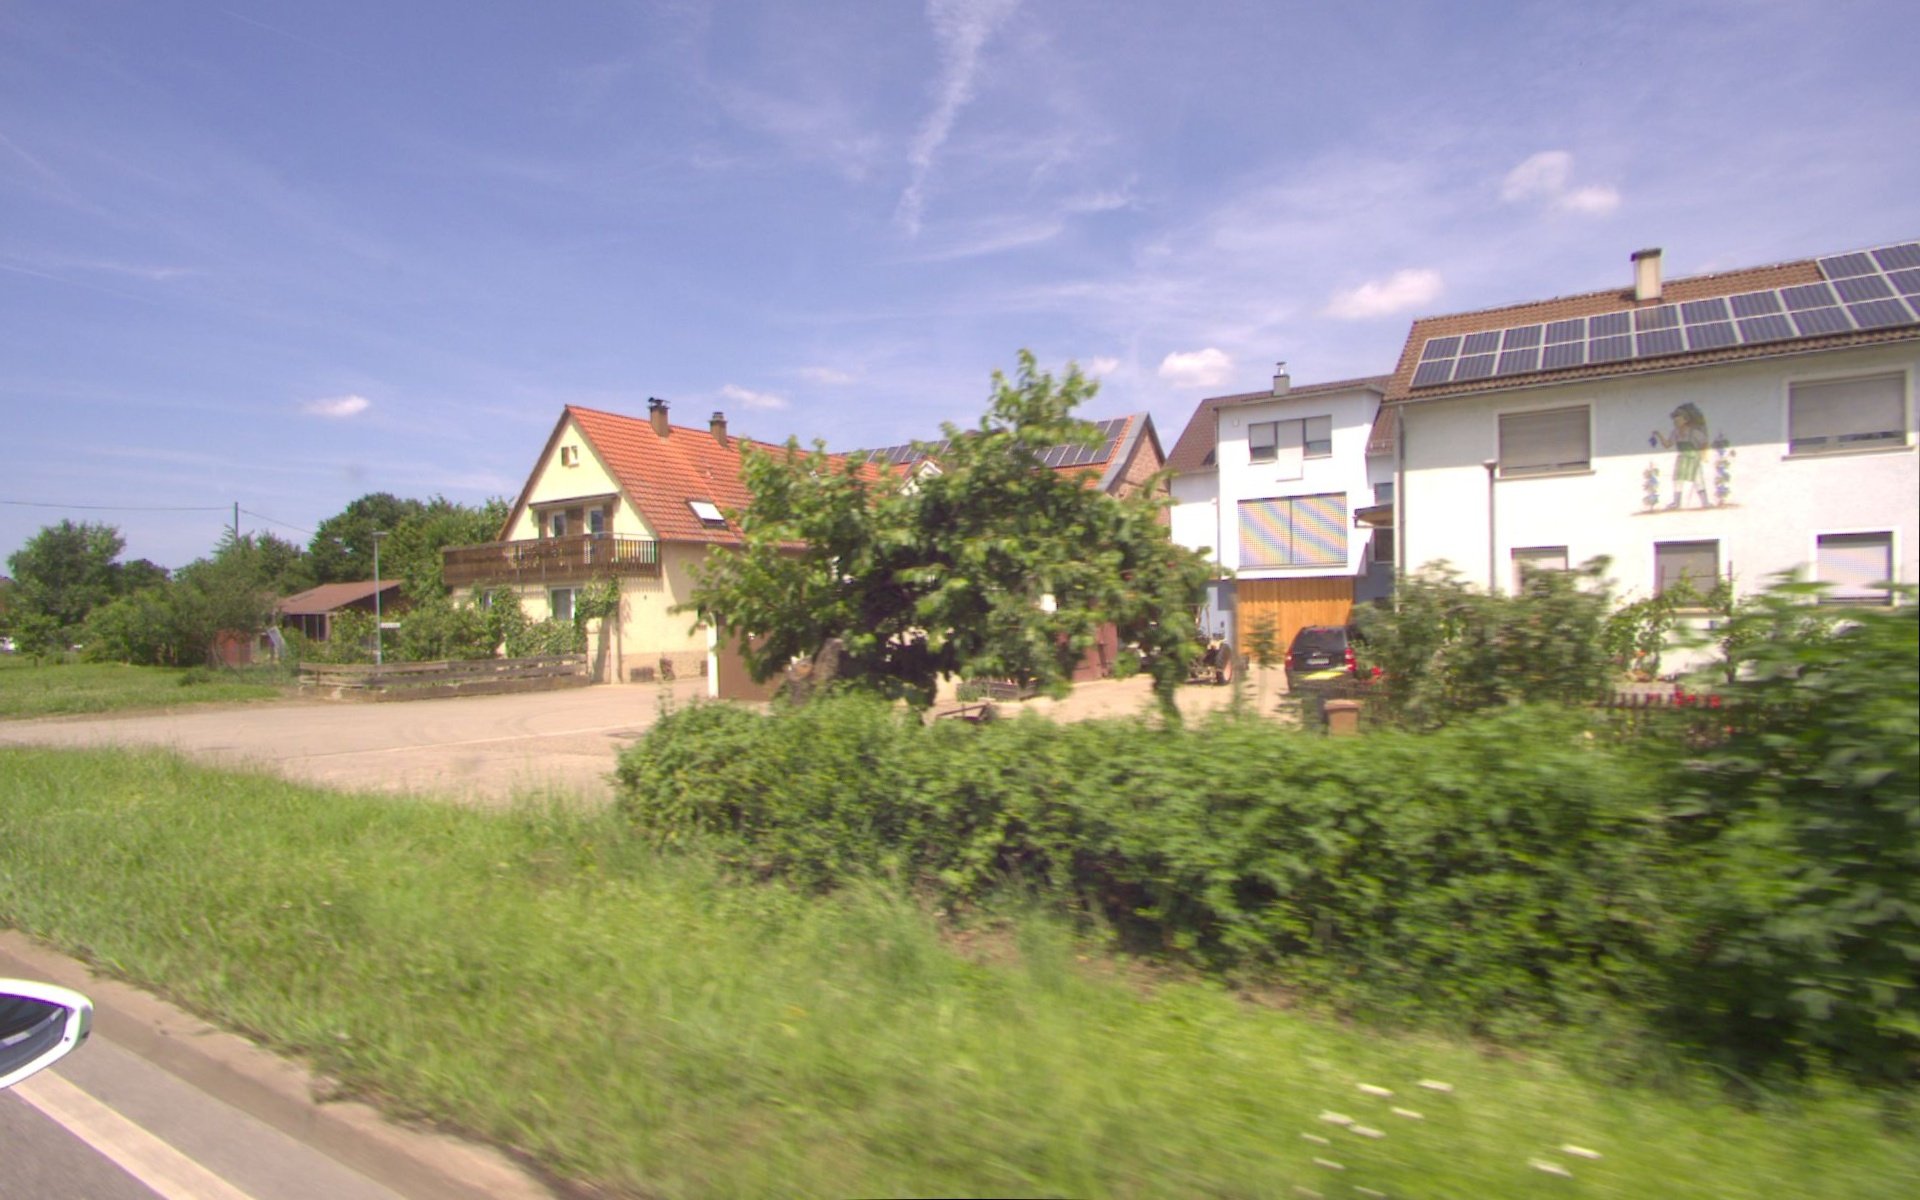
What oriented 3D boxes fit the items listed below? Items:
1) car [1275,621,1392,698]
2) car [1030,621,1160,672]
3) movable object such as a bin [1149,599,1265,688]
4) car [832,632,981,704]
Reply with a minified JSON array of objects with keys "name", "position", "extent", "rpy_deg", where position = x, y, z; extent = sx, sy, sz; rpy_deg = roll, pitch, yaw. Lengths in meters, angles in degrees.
[{"name":"car","position":[9.523,1.450,25.356],"extent":[1.820,1.715,3.936],"rpy_deg":[-2,-1,35]},{"name":"car","position":[4.480,1.544,33.467],"extent":[3.945,1.638,1.750],"rpy_deg":[-2,-2,34]},{"name":"movable object such as a bin","position":[7.219,1.159,29.006],"extent":[2.051,2.375,3.697],"rpy_deg":[1,1,36]},{"name":"car","position":[-1.290,1.665,25.670],"extent":[1.809,1.599,3.978],"rpy_deg":[-2,-1,33]}]
